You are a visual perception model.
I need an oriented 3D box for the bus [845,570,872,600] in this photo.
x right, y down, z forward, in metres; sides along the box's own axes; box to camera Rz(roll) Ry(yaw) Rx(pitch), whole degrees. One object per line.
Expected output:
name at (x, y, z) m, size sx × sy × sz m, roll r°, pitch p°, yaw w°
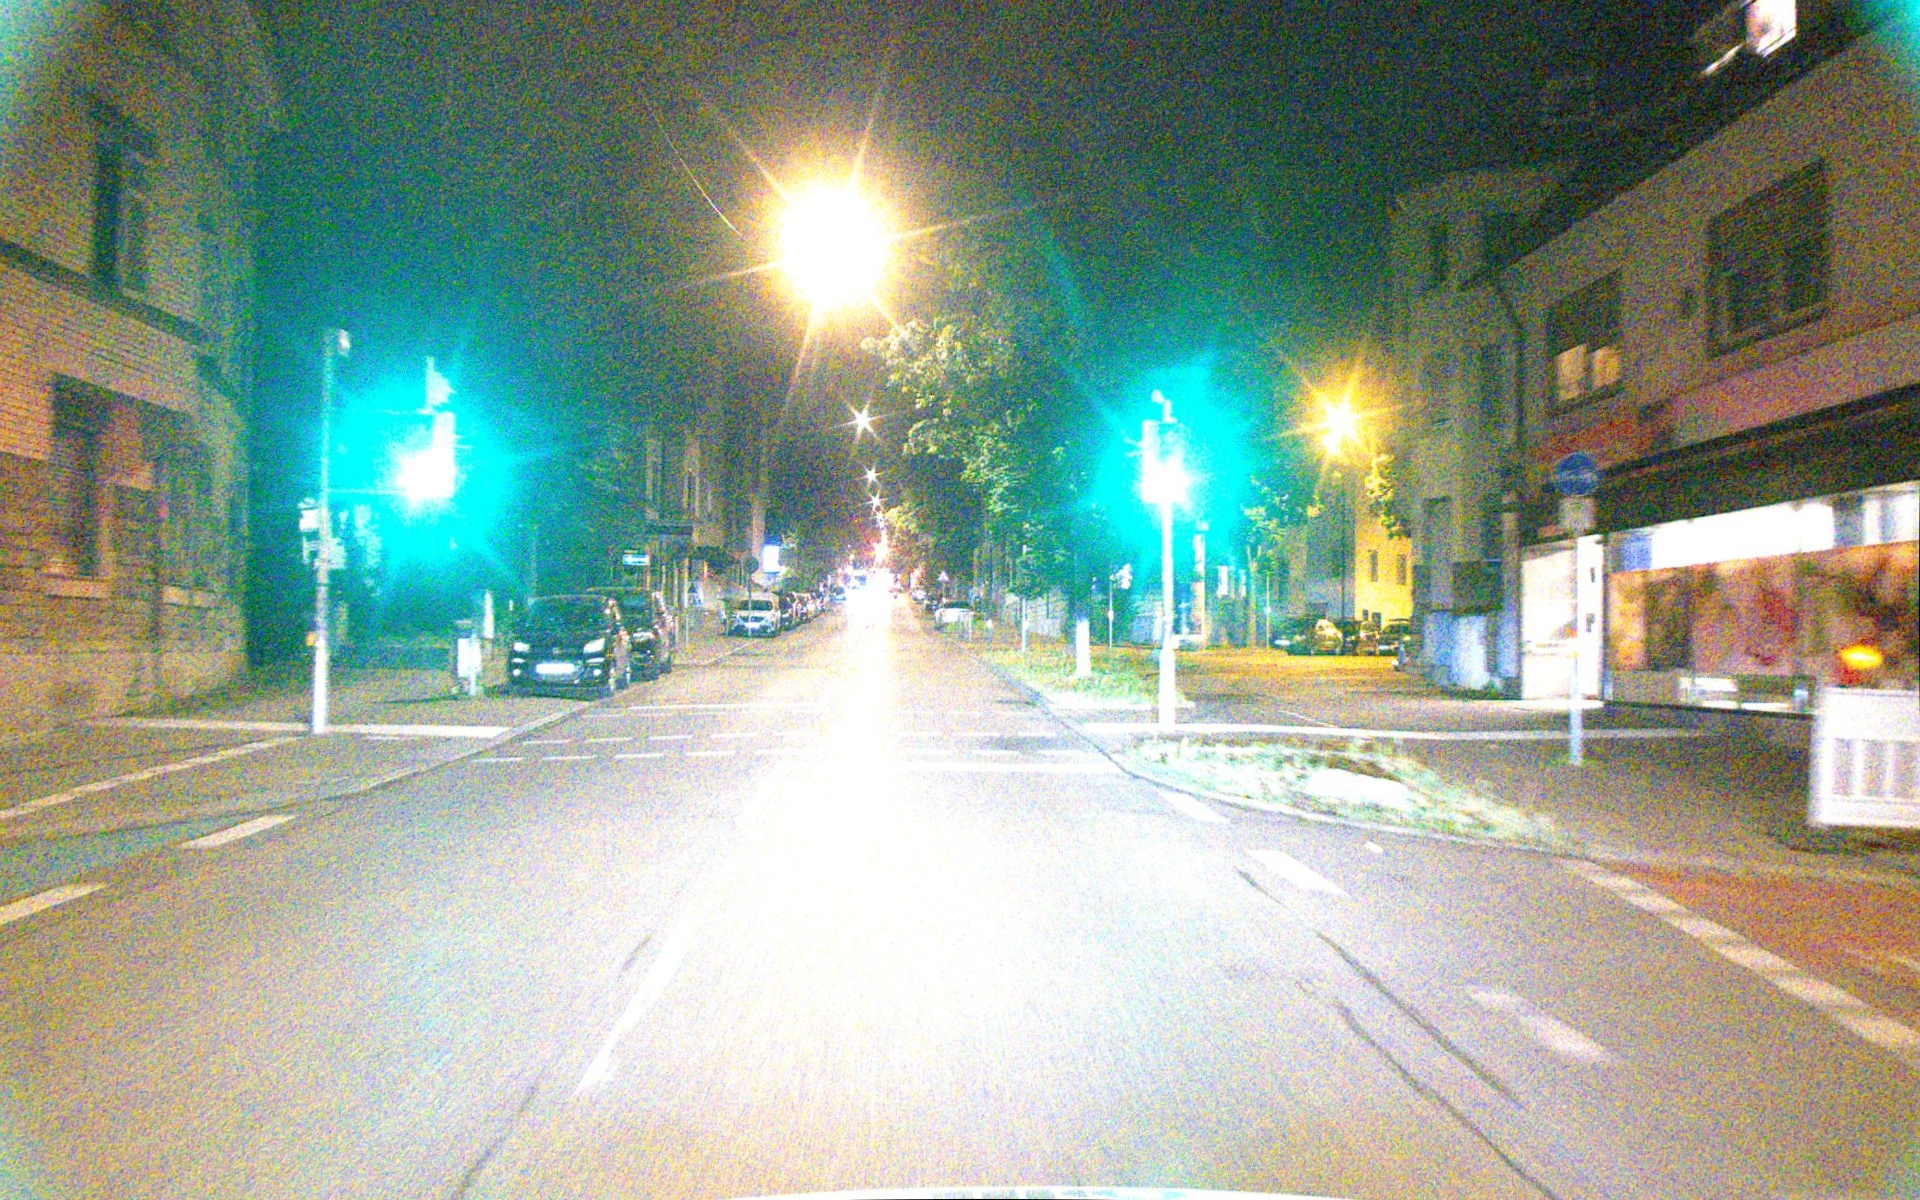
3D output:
bus at (-11.737, -1.748, 191.238) m, size 2.781 × 3.233 × 10.494 m, roll 2°, pitch 1°, yaw -2°

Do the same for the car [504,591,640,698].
car at (-6.148, 0.674, 26.523) m, size 1.616 × 1.541 × 3.697 m, roll 2°, pitch 0°, yaw -6°

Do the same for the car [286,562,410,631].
car at (-15.631, -0.081, 42.446) m, size 1.721 × 1.564 × 4.184 m, roll 4°, pitch -1°, yaw -3°

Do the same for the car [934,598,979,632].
car at (-0.193, 0.693, 77.802) m, size 1.808 × 1.442 × 4.642 m, roll -2°, pitch 0°, yaw -3°

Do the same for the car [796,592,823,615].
car at (-10.242, 0.227, 112.456) m, size 1.605 × 1.524 × 2.764 m, roll 1°, pitch 0°, yaw -1°

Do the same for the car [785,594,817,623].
car at (-8.923, 0.471, 92.950) m, size 1.589 × 1.518 × 3.778 m, roll 2°, pitch 0°, yaw -3°

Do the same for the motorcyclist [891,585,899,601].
motorcyclist at (-7.276, -0.749, 184.185) m, size 0.832 × 1.782 × 0.805 m, roll 2°, pitch -1°, yaw -2°

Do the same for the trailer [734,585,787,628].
trailer at (-8.263, 0.280, 68.700) m, size 1.603 × 1.668 × 3.440 m, roll 2°, pitch 0°, yaw 2°

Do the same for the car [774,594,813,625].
car at (-8.867, 0.506, 88.347) m, size 1.826 × 1.518 × 4.277 m, roll 2°, pitch 0°, yaw -3°

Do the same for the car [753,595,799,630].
car at (-8.265, 0.538, 74.659) m, size 1.799 × 1.472 × 4.541 m, roll 1°, pitch 1°, yaw -4°

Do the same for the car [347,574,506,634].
car at (-15.318, 0.110, 47.573) m, size 3.903 × 1.450 × 1.763 m, roll 3°, pitch 0°, yaw 7°

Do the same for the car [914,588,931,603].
car at (-4.050, -0.529, 178.385) m, size 1.831 × 1.553 × 4.148 m, roll -1°, pitch 1°, yaw -2°

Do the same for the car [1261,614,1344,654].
car at (13.147, 1.291, 63.351) m, size 1.766 × 1.442 × 3.824 m, roll 1°, pitch -1°, yaw 35°

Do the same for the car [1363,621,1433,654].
car at (19.249, 1.660, 72.618) m, size 1.739 × 1.364 × 3.906 m, roll 1°, pitch -1°, yaw 35°

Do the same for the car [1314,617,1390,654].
car at (16.218, 1.480, 68.284) m, size 1.766 × 1.442 × 3.824 m, roll 1°, pitch -1°, yaw 35°

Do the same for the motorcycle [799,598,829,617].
motorcycle at (-9.281, 0.480, 104.923) m, size 0.710 × 1.167 × 2.173 m, roll 0°, pitch 1°, yaw -44°

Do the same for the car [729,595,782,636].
car at (-7.872, 0.588, 64.058) m, size 1.778 × 1.510 × 4.344 m, roll 1°, pitch 0°, yaw -4°

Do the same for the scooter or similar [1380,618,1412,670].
scooter or similar at (9.960, 0.997, 37.764) m, size 0.488 × 1.166 × 1.666 m, roll -2°, pitch -2°, yaw 22°

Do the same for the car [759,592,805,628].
car at (-8.556, 0.453, 79.819) m, size 1.798 × 1.647 × 4.543 m, roll 2°, pitch 0°, yaw -2°

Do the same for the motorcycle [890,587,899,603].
motorcycle at (-7.279, -0.542, 184.181) m, size 0.912 × 1.782 × 2.623 m, roll 2°, pitch 0°, yaw -2°

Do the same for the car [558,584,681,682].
car at (-6.479, 0.580, 31.935) m, size 1.813 × 1.679 × 4.666 m, roll 2°, pitch 1°, yaw -6°

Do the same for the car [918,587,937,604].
car at (-3.289, -0.418, 165.075) m, size 1.775 × 1.622 × 4.272 m, roll -1°, pitch 1°, yaw -2°

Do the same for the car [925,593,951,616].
car at (-1.583, 0.304, 116.287) m, size 1.727 × 1.502 × 4.079 m, roll -1°, pitch 1°, yaw -2°
